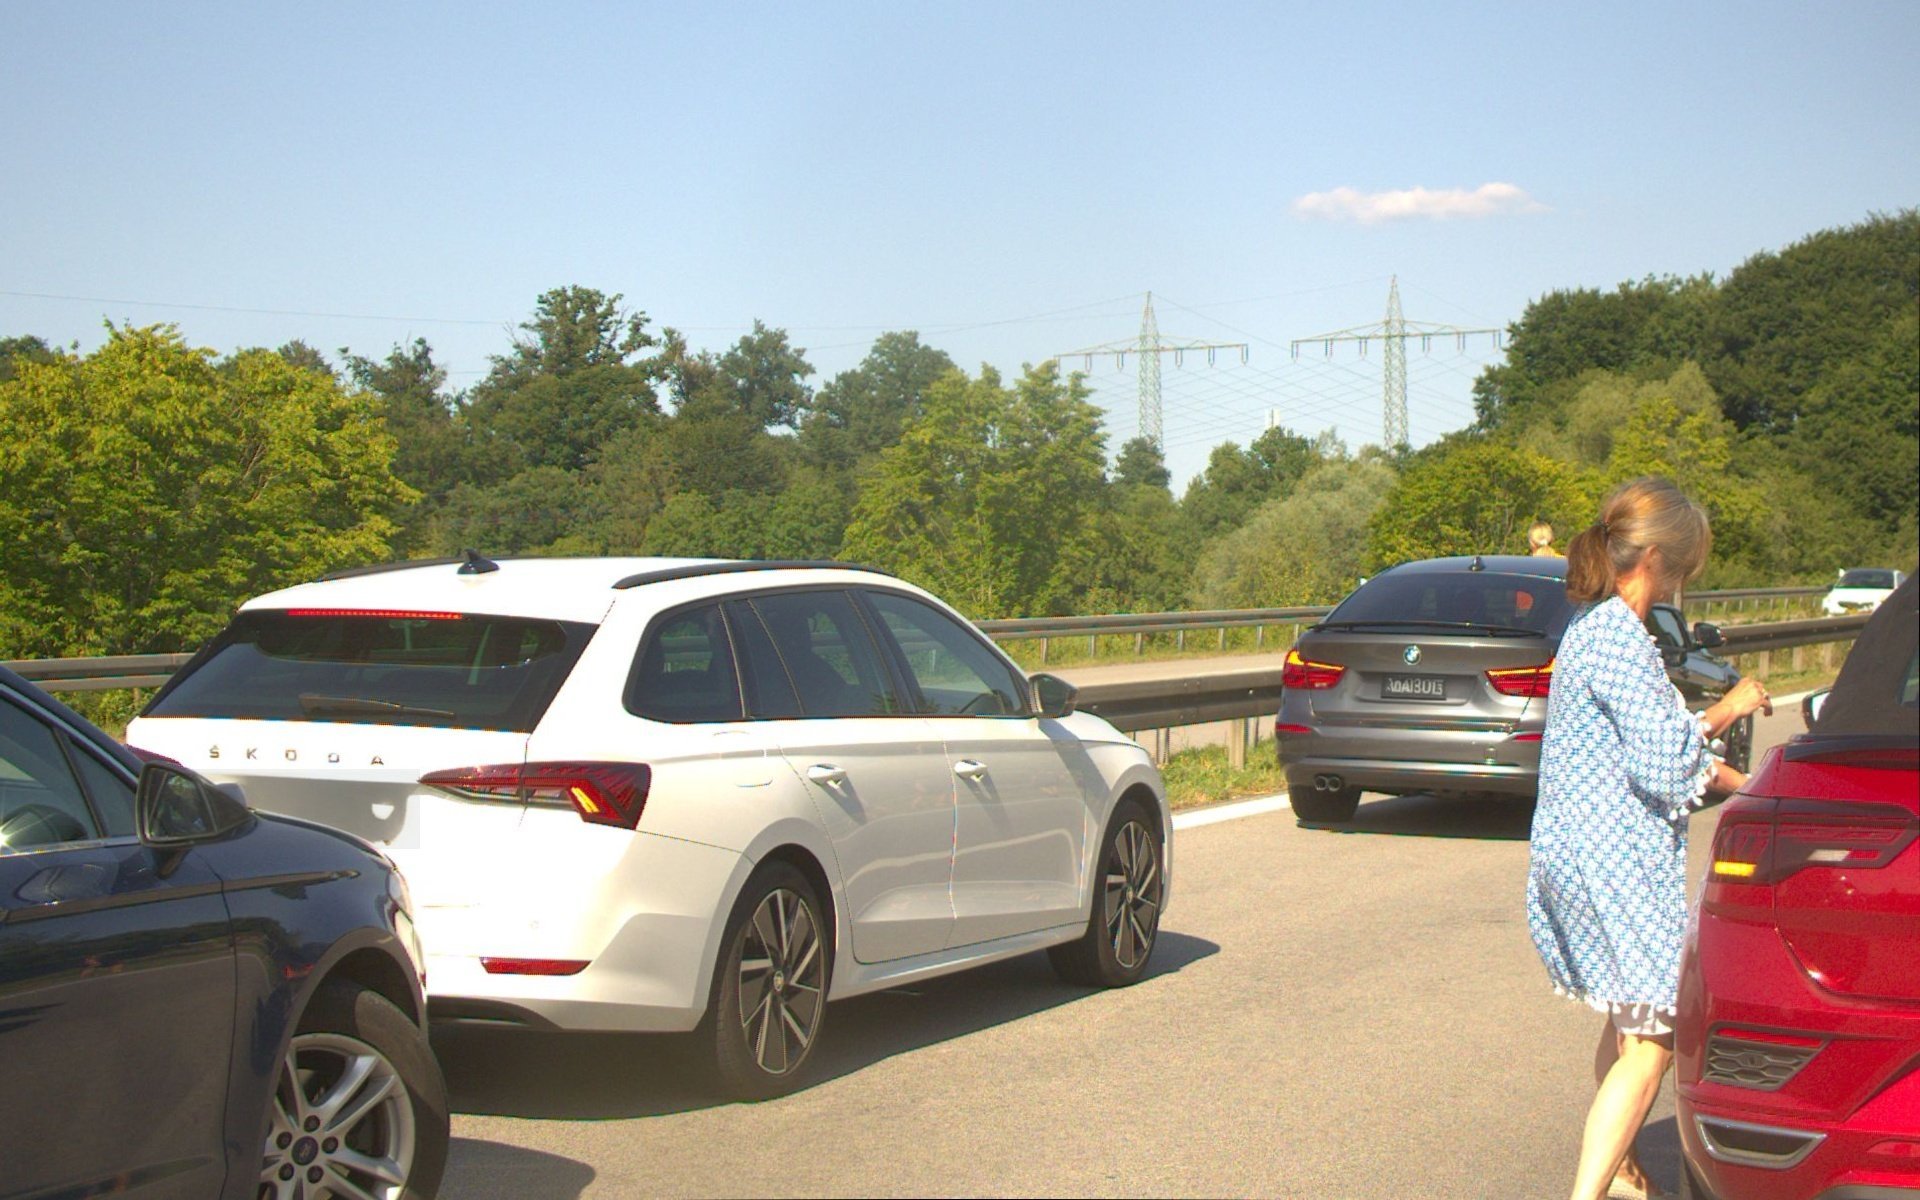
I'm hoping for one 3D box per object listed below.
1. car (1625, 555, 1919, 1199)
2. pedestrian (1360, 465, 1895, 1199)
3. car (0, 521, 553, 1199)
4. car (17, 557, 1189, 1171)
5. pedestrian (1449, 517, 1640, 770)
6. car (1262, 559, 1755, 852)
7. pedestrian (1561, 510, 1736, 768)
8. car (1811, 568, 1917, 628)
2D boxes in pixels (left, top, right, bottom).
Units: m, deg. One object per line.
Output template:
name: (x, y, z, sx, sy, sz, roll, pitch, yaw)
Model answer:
car: (2.802, 0.657, 7.591, 1.734, 1.482, 4.205, 1, 1, 24)
pedestrian: (1.411, 0.566, 7.335, 0.741, 1.677, 0.842, -1, 1, -31)
car: (-2.298, 0.634, 5.269, 1.789, 1.488, 4.490, 0, 1, 15)
car: (-0.820, 0.604, 10.488, 1.697, 1.436, 4.205, 1, 1, 24)
pedestrian: (4.176, 0.297, 24.520, 1.116, 1.757, 1.043, 0, 0, 23)
car: (3.213, 0.498, 19.399, 1.697, 1.421, 4.328, 1, 1, 24)
pedestrian: (5.161, 0.279, 25.728, 1.066, 1.876, 1.092, 0, 0, 23)
car: (22.422, -0.070, 85.168, 1.697, 1.421, 4.299, 1, 1, 26)
